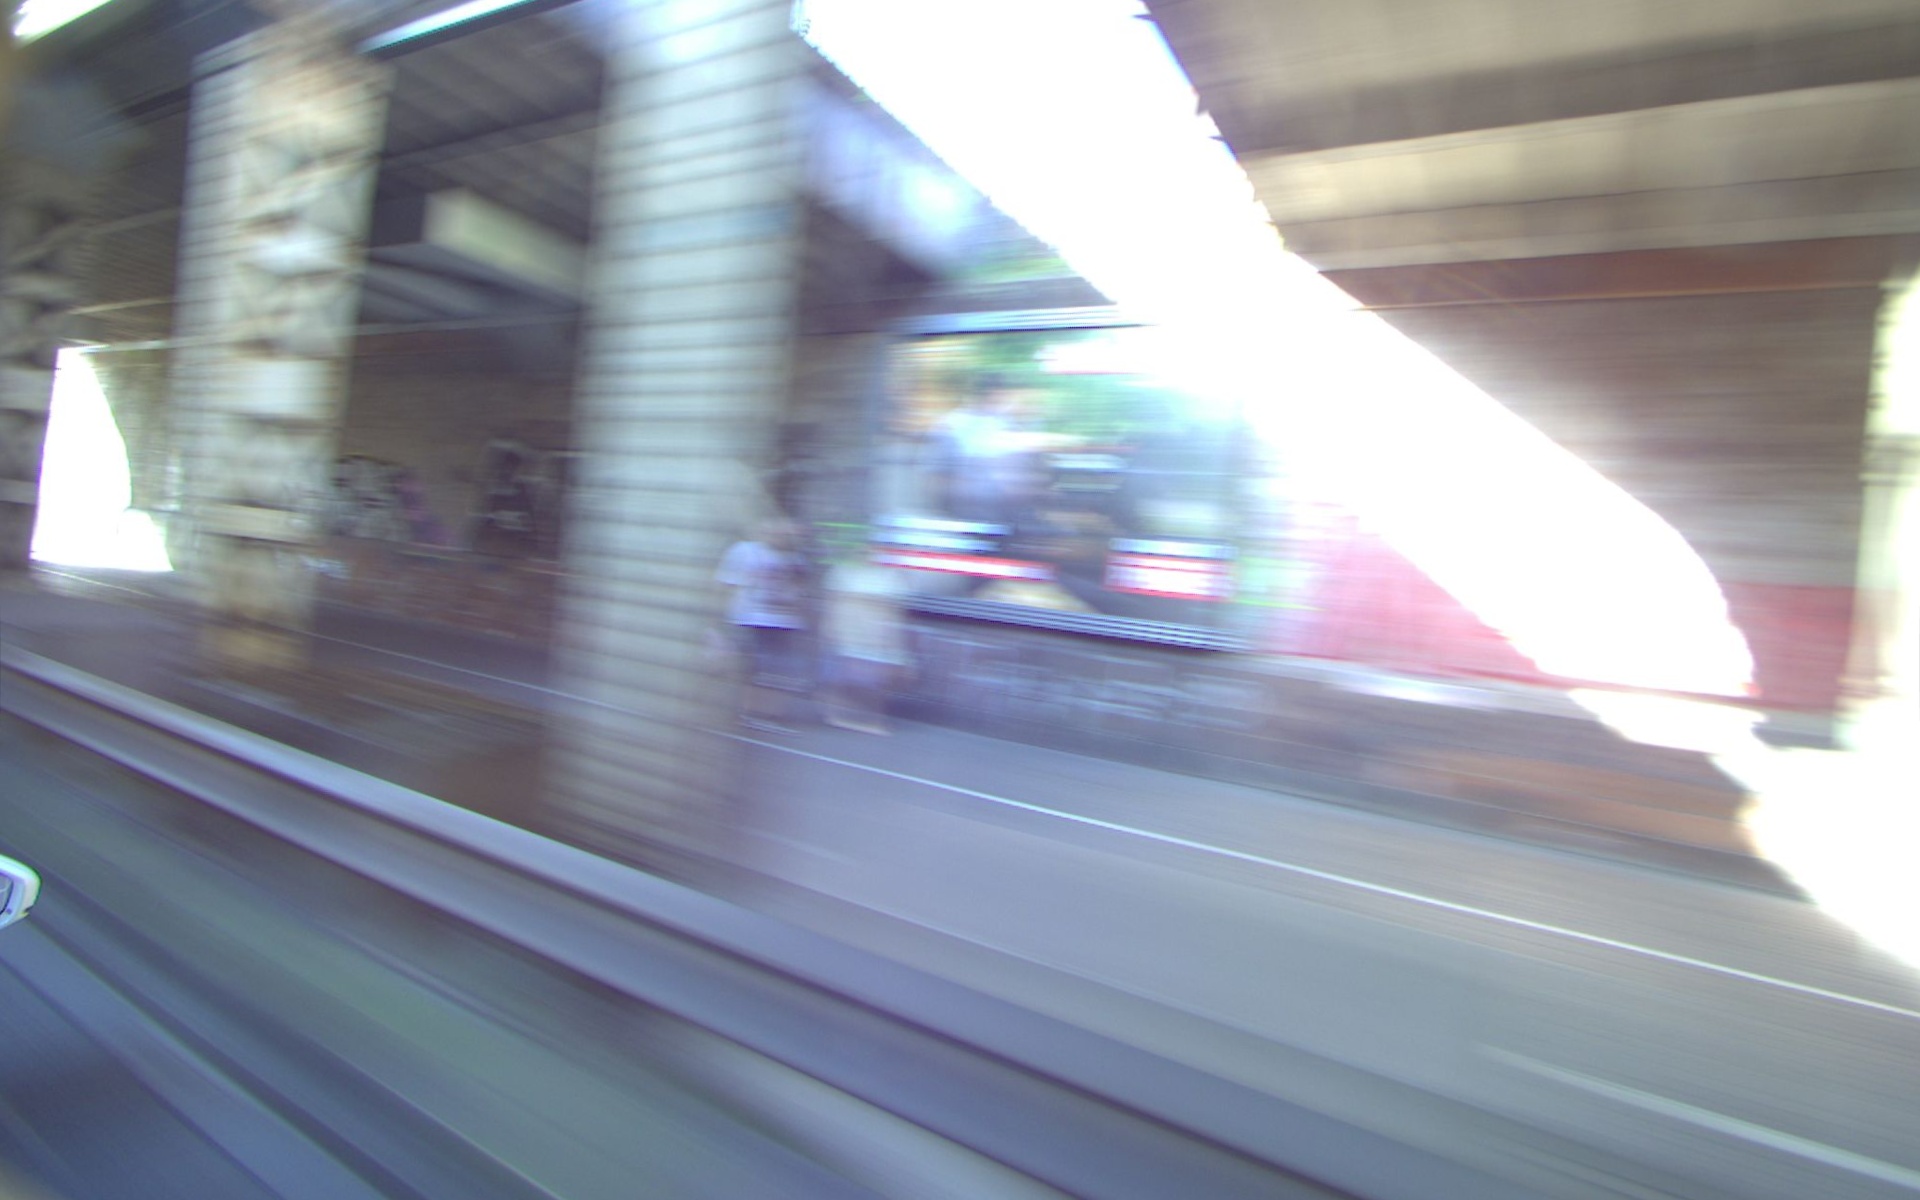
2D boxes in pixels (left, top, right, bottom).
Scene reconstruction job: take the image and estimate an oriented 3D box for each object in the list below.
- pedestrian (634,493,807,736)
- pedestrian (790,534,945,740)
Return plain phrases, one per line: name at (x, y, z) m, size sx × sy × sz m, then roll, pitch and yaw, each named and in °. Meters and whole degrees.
pedestrian at (-2.008, 0.113, 8.476) m, size 0.906 × 1.859 × 0.881 m, roll 7°, pitch 2°, yaw 28°
pedestrian at (-0.820, 0.320, 9.045) m, size 0.871 × 1.678 × 0.917 m, roll 7°, pitch 2°, yaw 28°
